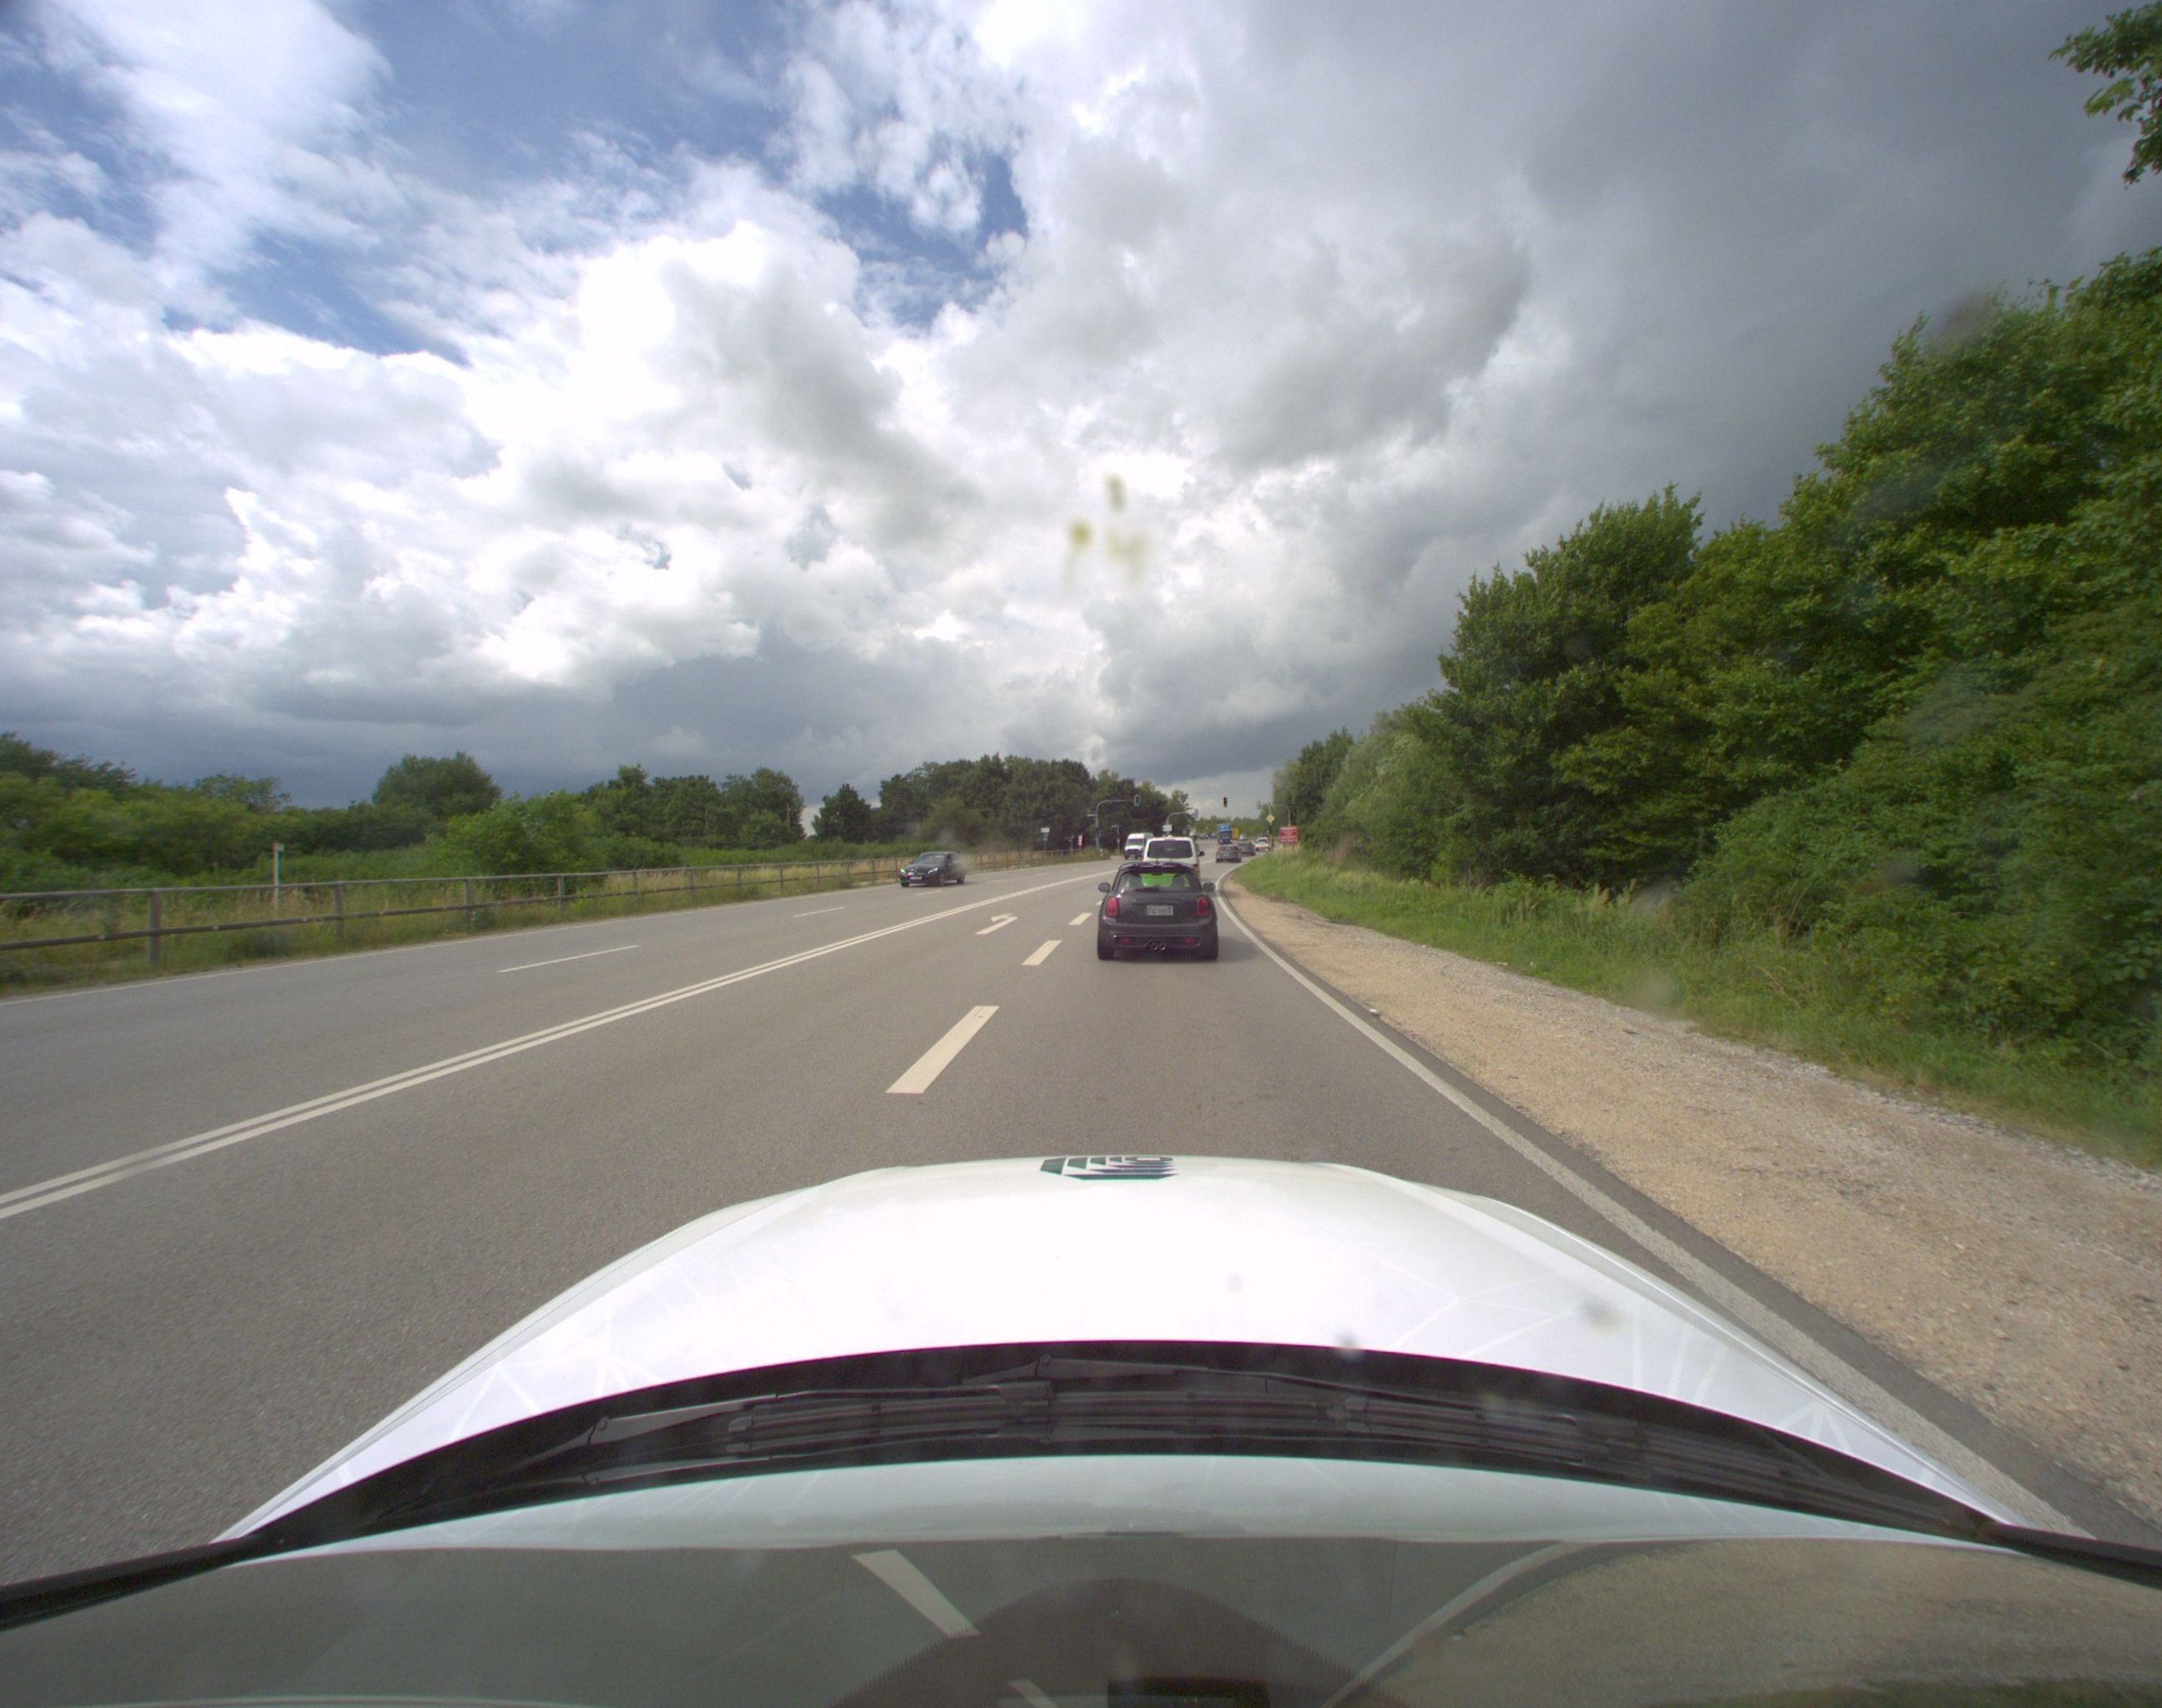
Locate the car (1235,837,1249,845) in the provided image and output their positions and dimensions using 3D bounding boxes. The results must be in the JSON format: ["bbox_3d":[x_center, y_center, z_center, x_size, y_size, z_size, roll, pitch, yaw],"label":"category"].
[{"bbox_3d":[34.767,-2.830,176.106,1.987,1.787,4.486,-2,1,0],"label":"car"}]

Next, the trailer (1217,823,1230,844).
[{"bbox_3d":[28.576,-4.110,163.180,2.512,4.100,6.753,-1,1,9],"label":"trailer"}]

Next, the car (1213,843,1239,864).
[{"bbox_3d":[12.059,0.002,67.578,1.980,1.684,4.013,0,-1,12],"label":"car"}]

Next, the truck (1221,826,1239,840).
[{"bbox_3d":[35.291,-4.932,193.075,2.708,2.897,8.768,-1,0,0],"label":"truck"}]

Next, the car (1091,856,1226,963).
[{"bbox_3d":[1.194,0.770,13.120,1.837,1.428,3.845,0,0,4],"label":"car"}]

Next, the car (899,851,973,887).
[{"bbox_3d":[-6.375,0.620,36.254,1.797,1.441,4.366,-1,0,10],"label":"car"}]

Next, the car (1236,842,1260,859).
[{"bbox_3d":[17.566,-0.333,85.372,1.977,1.684,3.996,0,-1,18],"label":"car"}]

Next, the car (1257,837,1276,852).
[{"bbox_3d":[23.190,-1.167,101.615,1.978,1.684,4.017,0,-1,17],"label":"car"}]

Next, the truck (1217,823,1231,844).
[{"bbox_3d":[28.068,-4.045,160.061,2.525,4.096,4.010,-1,0,9],"label":"truck"}]

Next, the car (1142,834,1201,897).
[{"bbox_3d":[3.106,0.350,27.602,1.835,1.987,3.849,-1,0,7],"label":"car"}]

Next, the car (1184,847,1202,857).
[{"bbox_3d":[16.151,-0.293,117.370,1.930,1.441,4.019,-1,0,18],"label":"car"}]

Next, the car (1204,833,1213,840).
[{"bbox_3d":[38.508,-5.360,246.112,1.986,2.014,4.001,0,-1,2],"label":"car"}]

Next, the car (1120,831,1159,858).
[{"bbox_3d":[6.079,-0.945,83.996,2.414,2.674,6.920,-1,0,18],"label":"car"}]

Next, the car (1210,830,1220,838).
[{"bbox_3d":[37.263,-5.670,226.432,2.172,2.014,4.002,0,-1,2],"label":"car"}]

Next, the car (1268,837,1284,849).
[{"bbox_3d":[28.892,-1.577,120.384,1.978,1.684,4.018,0,-1,18],"label":"car"}]
